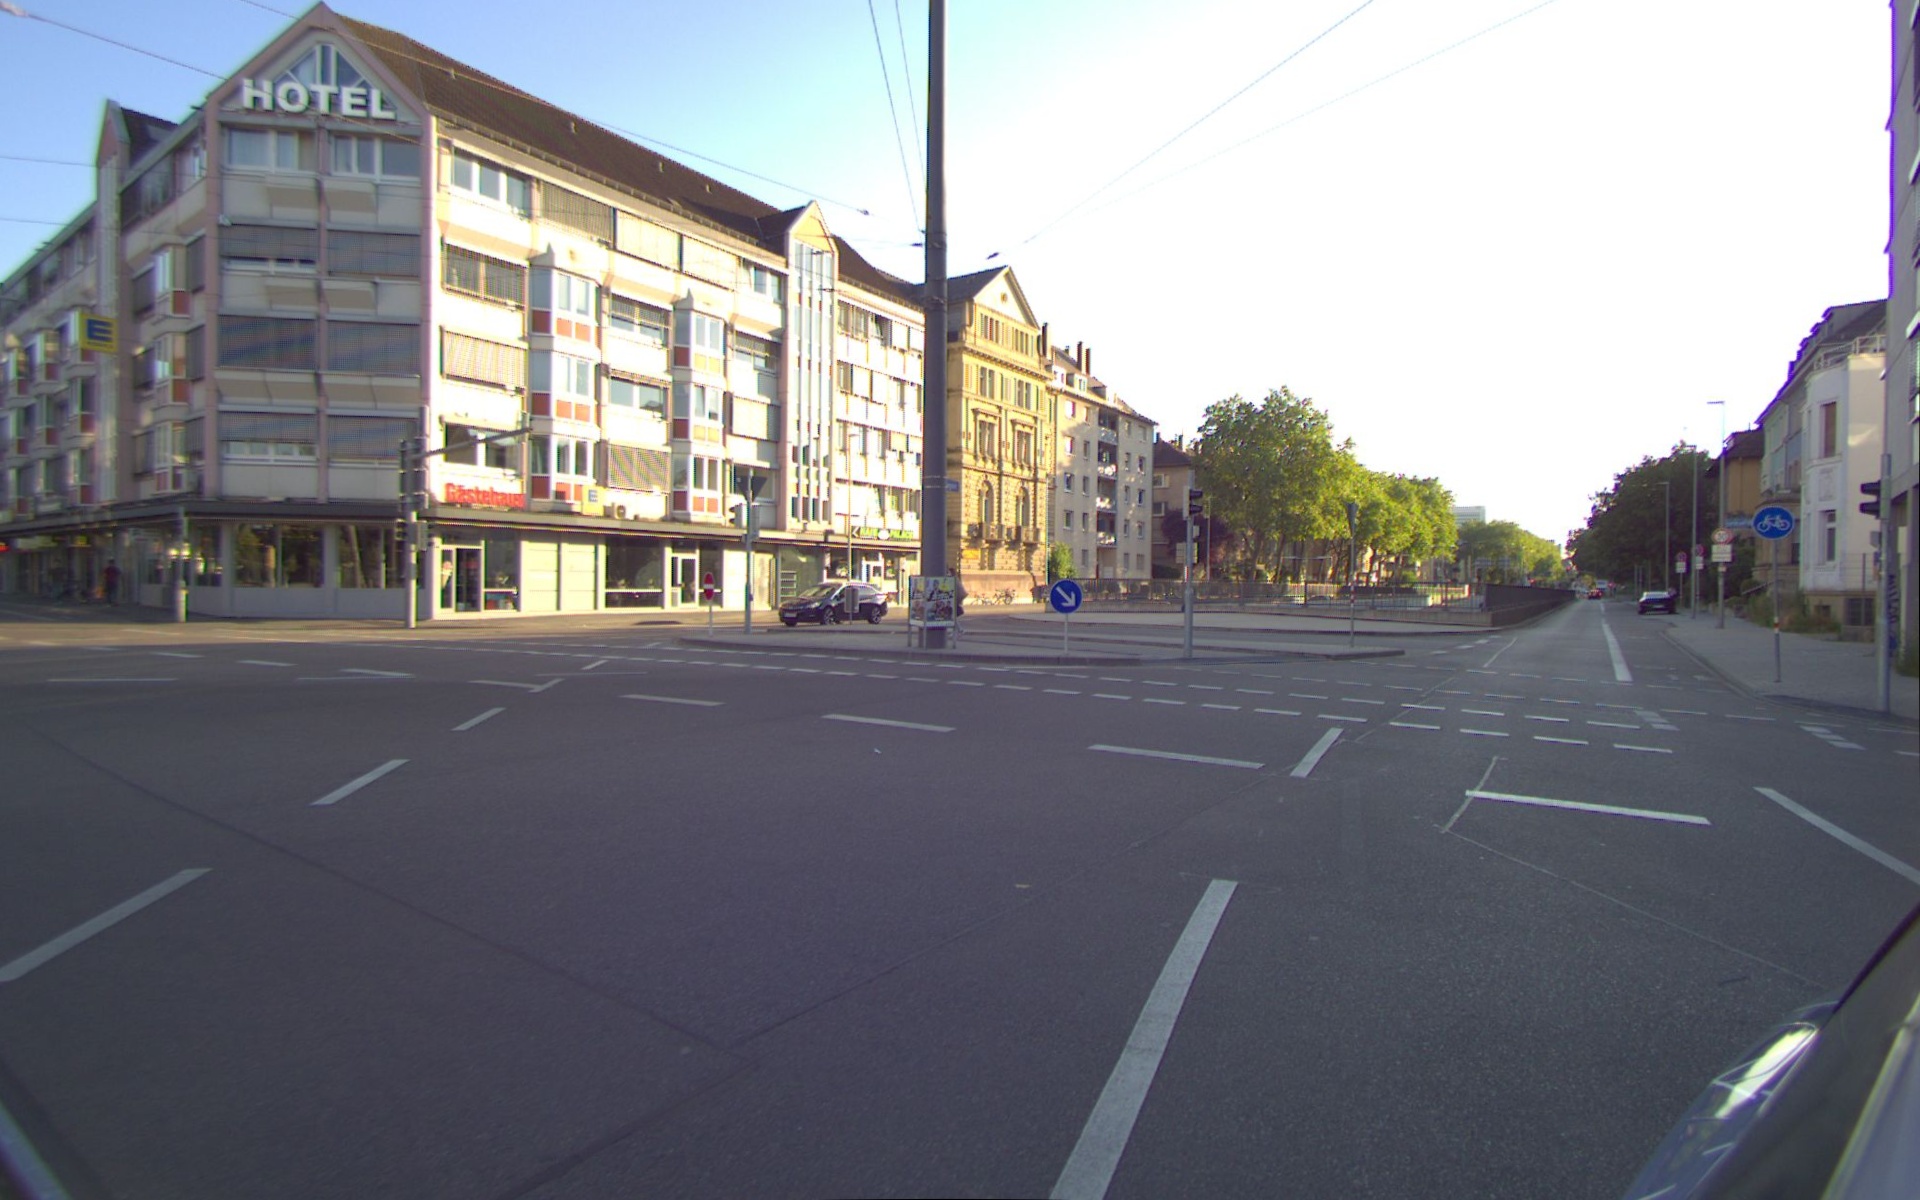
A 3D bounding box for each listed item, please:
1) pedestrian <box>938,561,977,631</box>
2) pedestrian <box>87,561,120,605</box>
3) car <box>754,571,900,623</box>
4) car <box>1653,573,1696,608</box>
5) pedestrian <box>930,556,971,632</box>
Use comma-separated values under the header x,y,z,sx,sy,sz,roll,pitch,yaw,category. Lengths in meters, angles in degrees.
x,y,z,sx,sy,sz,roll,pitch,yaw,category
-0.069,-0.094,23.556,0.690,1.602,0.828,0,1,-16,pedestrian
-32.384,-0.648,38.270,0.901,1.567,0.699,5,2,35,pedestrian
-4.385,-0.137,33.946,2.214,1.575,4.543,2,2,42,car
43.299,-0.578,61.306,1.989,2.039,4.205,1,1,37,car
-0.217,-0.142,22.603,0.712,1.669,0.773,0,1,-17,pedestrian
